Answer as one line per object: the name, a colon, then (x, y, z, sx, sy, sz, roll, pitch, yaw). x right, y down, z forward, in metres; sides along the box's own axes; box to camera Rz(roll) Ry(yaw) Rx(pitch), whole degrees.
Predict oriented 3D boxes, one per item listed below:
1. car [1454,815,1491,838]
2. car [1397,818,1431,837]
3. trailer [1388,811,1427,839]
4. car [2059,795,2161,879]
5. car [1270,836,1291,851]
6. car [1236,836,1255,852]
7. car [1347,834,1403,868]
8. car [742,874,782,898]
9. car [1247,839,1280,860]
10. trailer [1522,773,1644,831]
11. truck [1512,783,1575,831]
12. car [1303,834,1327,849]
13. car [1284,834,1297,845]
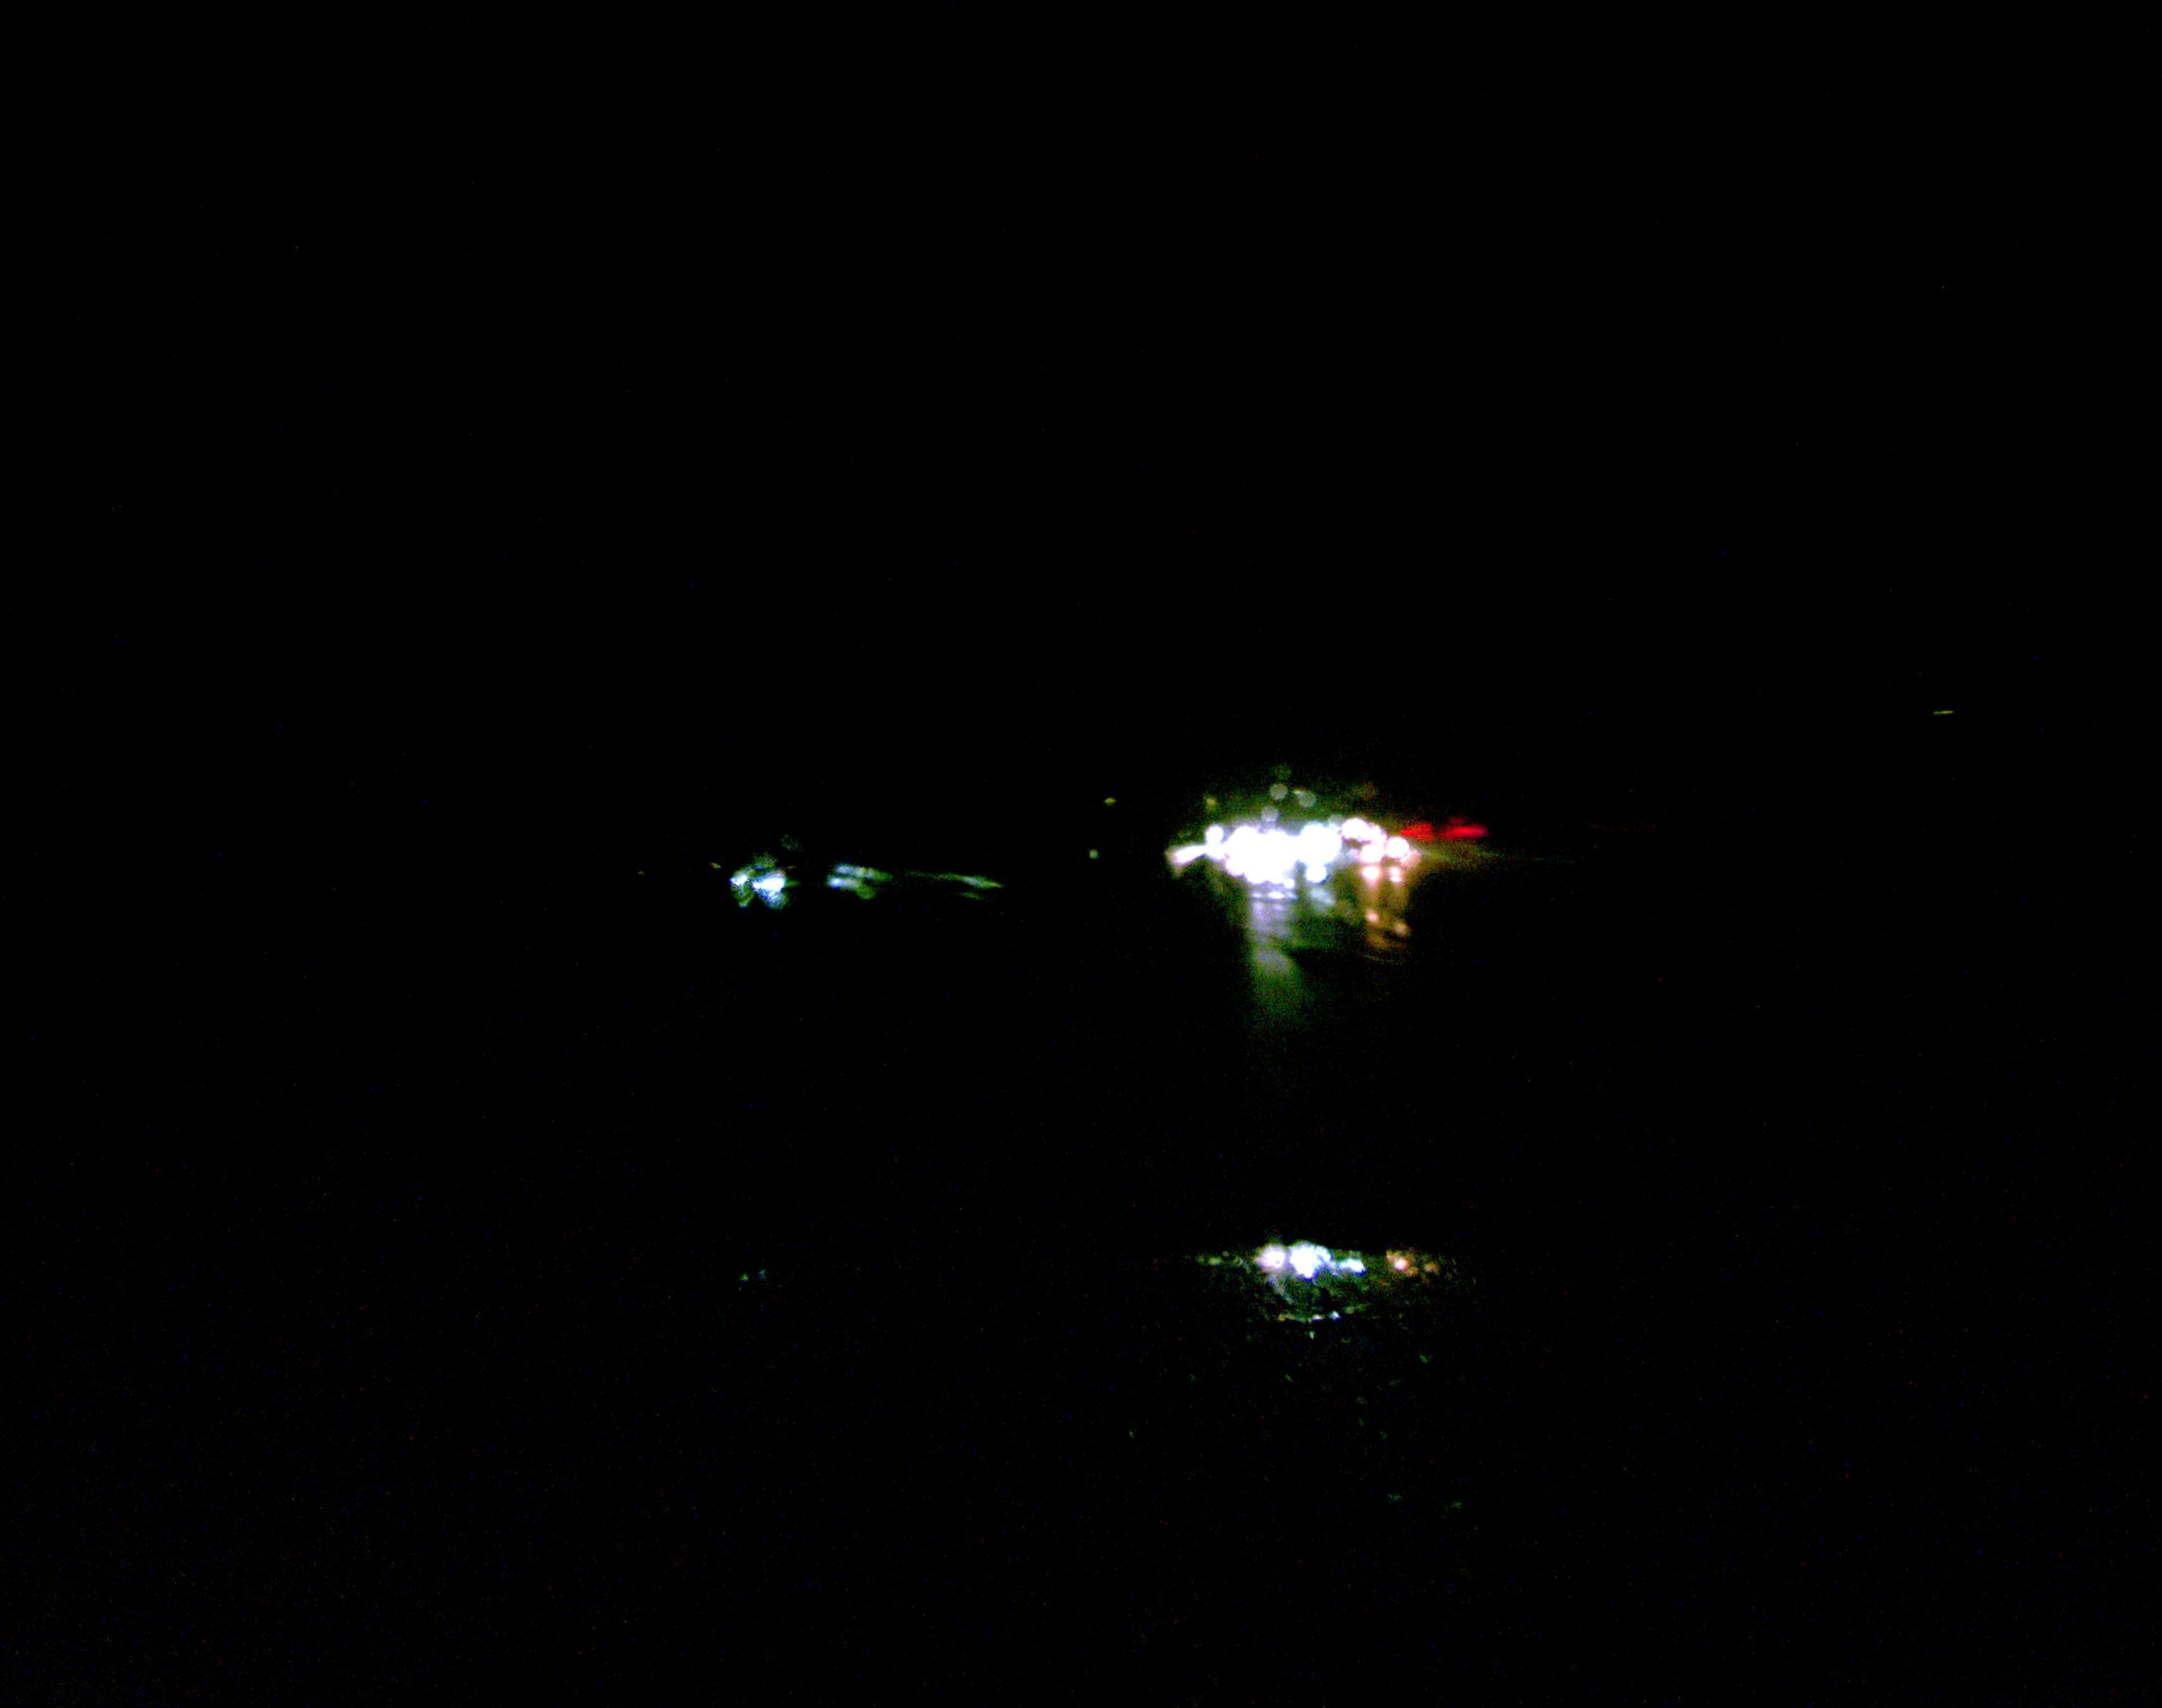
car: (38.504, -2.703, 74.806, 1.997, 2.002, 4.002, -5, 1, 11)
car: (34.243, -2.687, 78.209, 1.997, 1.761, 4.001, -6, 1, 8)
trailer: (51.608, -4.538, 120.400, 2.775, 4.006, 14.023, -5, 1, 13)
car: (28.324, -0.463, 19.334, 1.997, 2.002, 4.002, -6, 1, 11)
car: (23.875, -1.288, 91.056, 1.920, 1.587, 4.002, -3, 1, 9)
car: (22.512, -1.398, 103.988, 1.997, 2.002, 4.001, -6, 1, 8)
car: (14.971, -0.181, 38.909, 1.725, 1.587, 4.001, -3, 1, 8)
car: (-26.955, 2.701, 64.181, 2.003, 1.737, 4.090, -6, 1, -38)
car: (15.040, -0.415, 62.774, 1.920, 1.587, 4.000, -4, 1, 4)
trailer: (38.590, -3.806, 59.272, 2.657, 3.709, 13.951, -5, 1, 12)
truck: (39.965, -3.971, 65.855, 2.657, 3.709, 5.707, -5, 1, 11)
car: (27.062, -1.464, 88.059, 1.920, 1.587, 4.002, -3, 1, 8)
car: (38.291, -2.714, 138.682, 1.928, 1.784, 4.002, -5, 1, 12)
